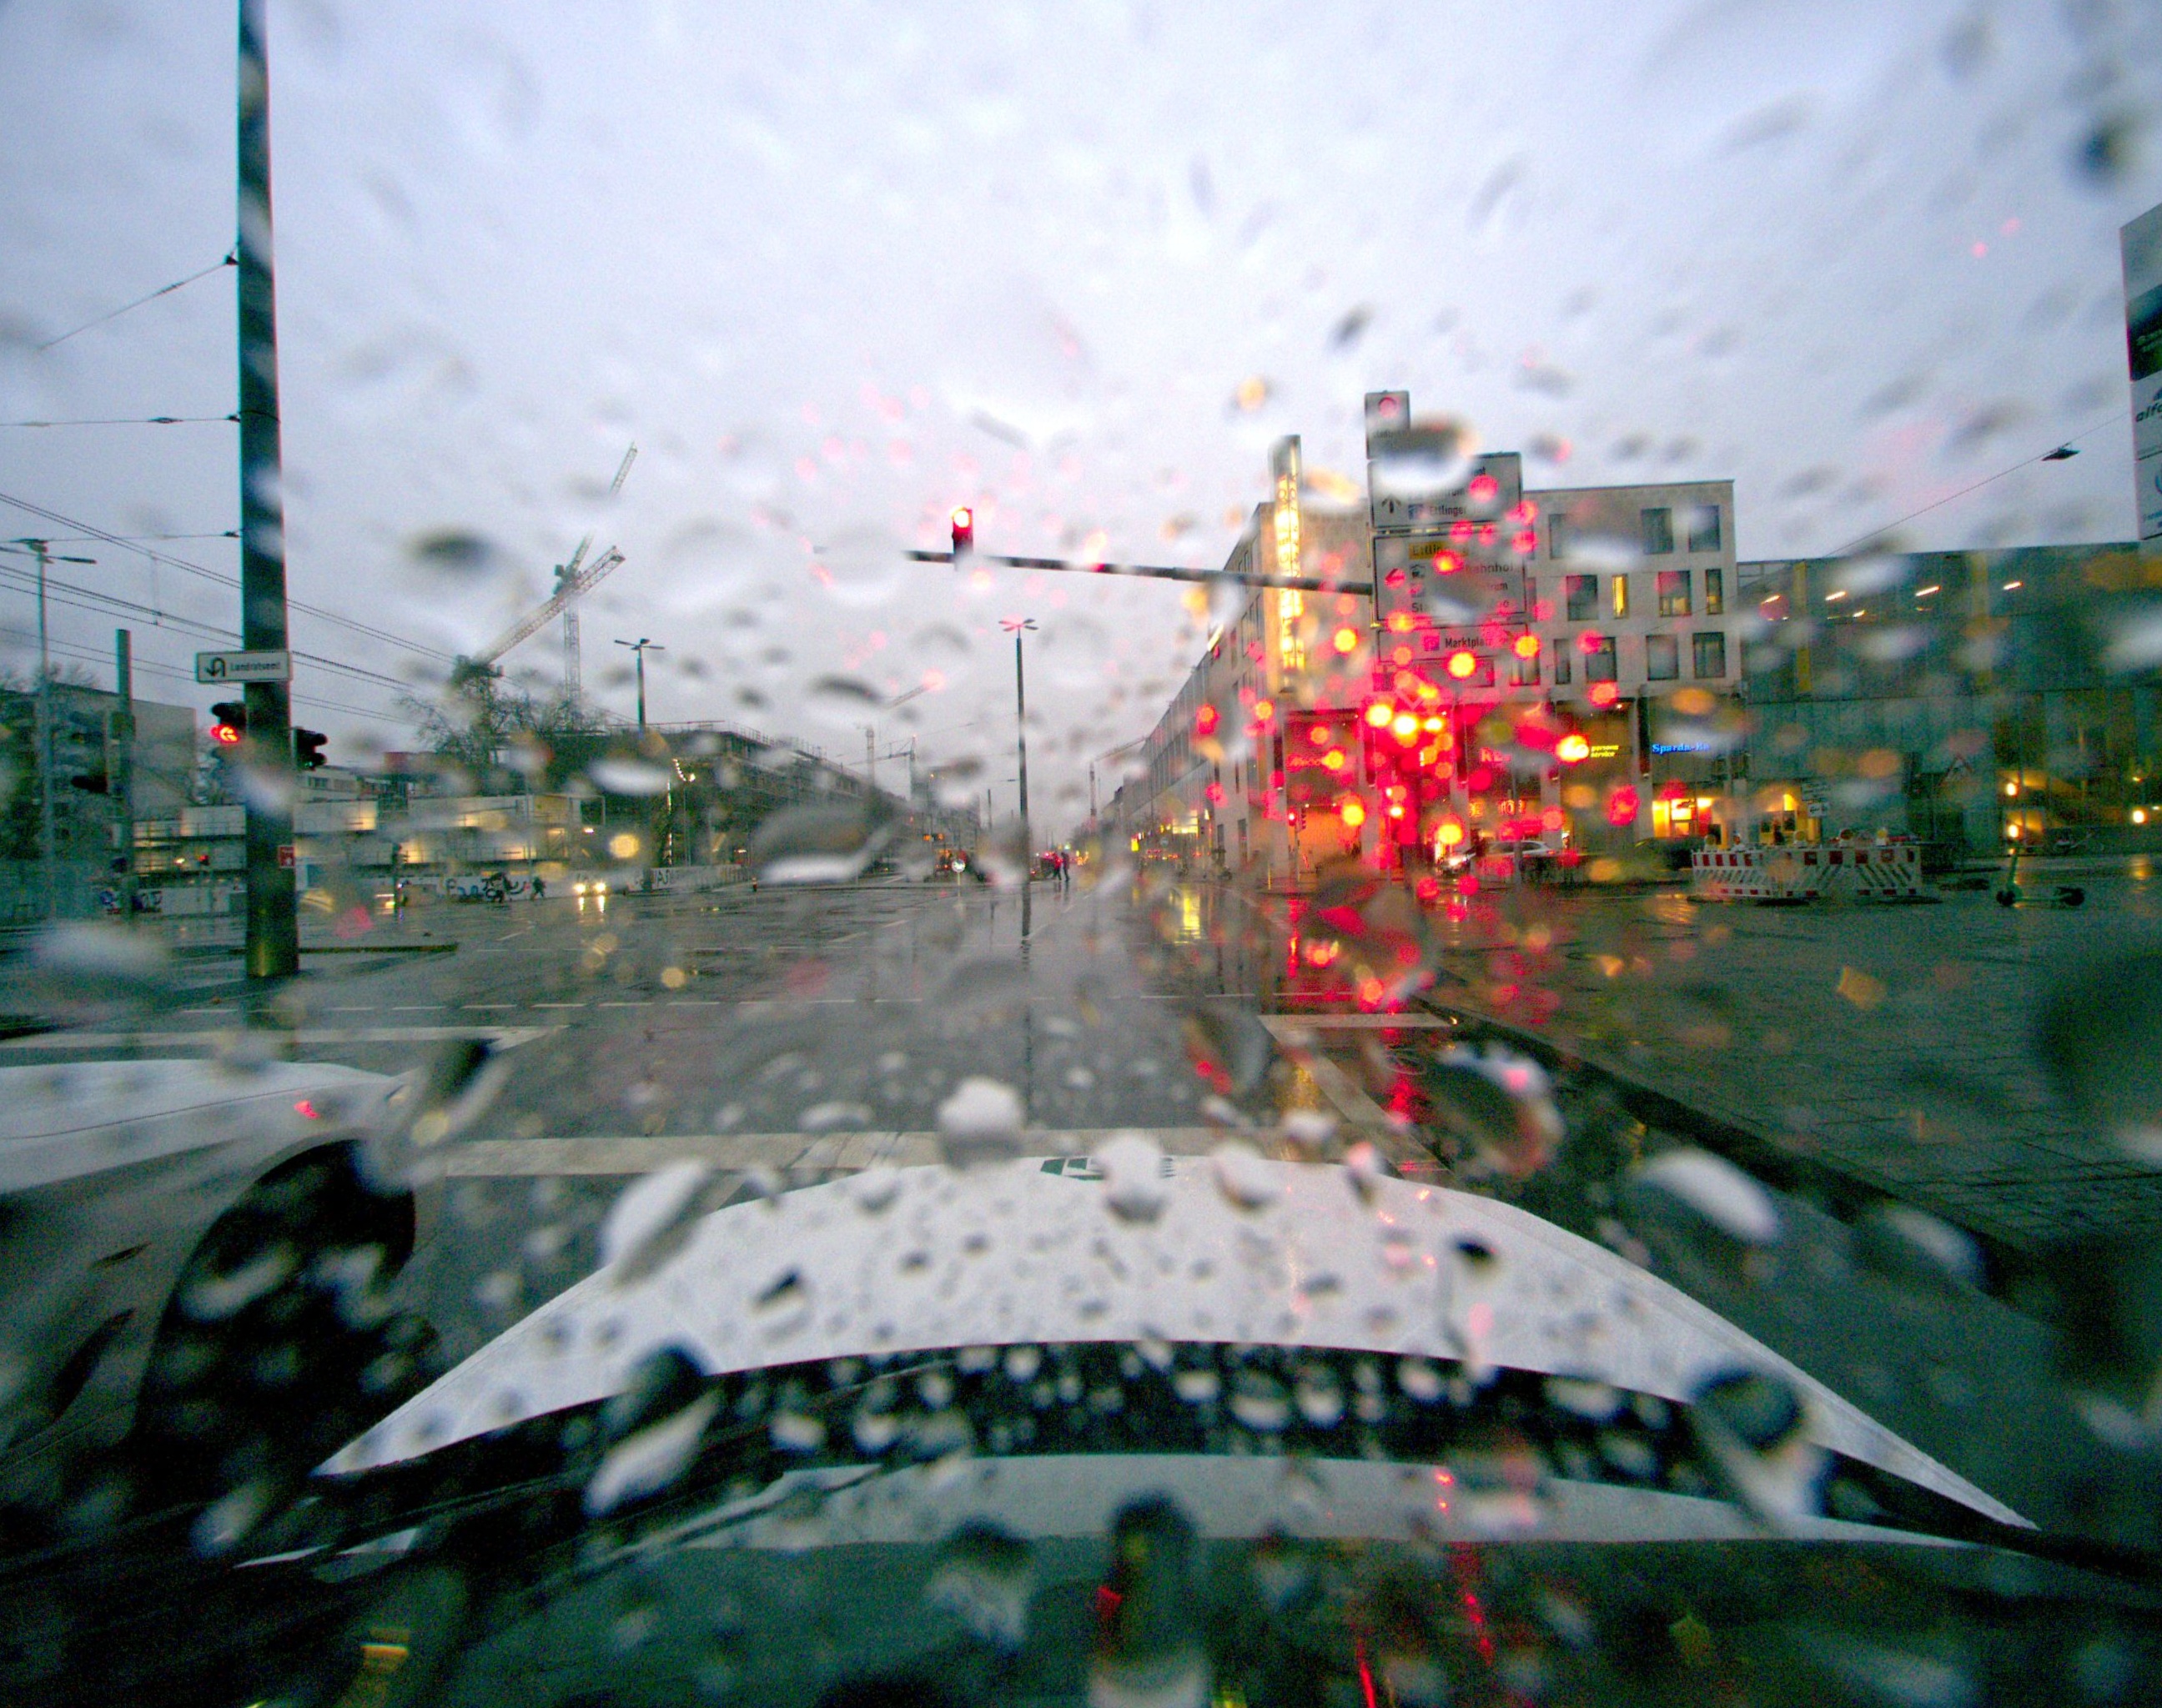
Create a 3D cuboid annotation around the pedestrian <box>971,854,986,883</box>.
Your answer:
[{"bbox_3d":[-5.763,0.815,45.960,0.704,1.619,0.613,-2,-1,-1],"label":"pedestrian"}]

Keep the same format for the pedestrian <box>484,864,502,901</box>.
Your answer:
[{"bbox_3d":[-33.159,1.605,45.929,0.507,2.014,0.638,-3,-2,-9],"label":"pedestrian"}]

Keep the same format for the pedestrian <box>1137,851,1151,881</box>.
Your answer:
[{"bbox_3d":[3.755,0.732,48.687,0.700,1.760,0.652,-2,-1,1],"label":"pedestrian"}]

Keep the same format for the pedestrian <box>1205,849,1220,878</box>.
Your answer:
[{"bbox_3d":[7.694,0.561,47.642,0.736,1.667,0.402,-2,-1,13],"label":"pedestrian"}]

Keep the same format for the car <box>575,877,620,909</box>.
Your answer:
[{"bbox_3d":[-33.536,2.682,56.590,1.760,2.013,3.977,-2,0,-17],"label":"car"}]

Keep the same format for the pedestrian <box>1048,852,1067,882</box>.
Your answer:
[{"bbox_3d":[-1.373,0.751,47.324,0.823,1.679,0.623,-2,-1,27],"label":"pedestrian"}]

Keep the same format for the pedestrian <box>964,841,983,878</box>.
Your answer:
[{"bbox_3d":[-5.899,0.294,44.681,0.781,2.013,0.606,-2,-1,-37],"label":"pedestrian"}]

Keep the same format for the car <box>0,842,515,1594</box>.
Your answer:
[{"bbox_3d":[-3.172,0.766,0.651,1.903,1.520,4.924,-2,0,1],"label":"car"}]

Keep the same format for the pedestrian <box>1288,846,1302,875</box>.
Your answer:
[{"bbox_3d":[12.925,0.398,49.186,0.615,1.760,0.482,-2,-1,1],"label":"pedestrian"}]

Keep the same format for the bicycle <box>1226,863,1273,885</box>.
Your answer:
[{"bbox_3d":[7.879,0.932,38.182,2.118,0.991,0.542,-1,-1,4],"label":"bicycle"}]

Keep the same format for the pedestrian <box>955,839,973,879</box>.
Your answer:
[{"bbox_3d":[-6.271,0.282,43.699,0.691,2.087,0.606,-2,-1,-38],"label":"pedestrian"}]

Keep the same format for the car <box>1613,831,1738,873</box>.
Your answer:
[{"bbox_3d":[24.969,-0.077,34.294,4.037,1.582,1.676,-2,-1,-1],"label":"car"}]

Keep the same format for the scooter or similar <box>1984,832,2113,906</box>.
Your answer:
[{"bbox_3d":[15.756,0.232,13.304,0.603,1.130,1.236,-2,0,2],"label":"scooter or similar"}]

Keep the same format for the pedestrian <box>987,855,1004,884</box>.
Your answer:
[{"bbox_3d":[-4.855,0.851,46.370,0.806,1.607,0.746,-2,-1,1],"label":"pedestrian"}]

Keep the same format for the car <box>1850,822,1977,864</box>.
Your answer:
[{"bbox_3d":[34.664,-0.435,33.975,3.558,1.582,1.676,-2,-1,-1],"label":"car"}]

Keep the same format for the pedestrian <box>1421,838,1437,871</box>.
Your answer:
[{"bbox_3d":[18.003,0.016,42.123,0.530,1.685,0.552,-3,-1,39],"label":"pedestrian"}]

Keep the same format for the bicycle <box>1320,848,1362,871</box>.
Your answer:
[{"bbox_3d":[16.147,0.345,50.651,2.420,1.329,0.634,-2,0,-4],"label":"bicycle"}]

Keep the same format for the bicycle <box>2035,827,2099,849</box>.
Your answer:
[{"bbox_3d":[48.653,-0.787,40.231,0.613,1.033,2.138,-2,0,3],"label":"bicycle"}]

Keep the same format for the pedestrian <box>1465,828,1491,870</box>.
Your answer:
[{"bbox_3d":[15.519,-0.208,31.853,0.774,1.595,0.616,-2,-1,17],"label":"pedestrian"}]

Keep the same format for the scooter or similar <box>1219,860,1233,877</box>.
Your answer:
[{"bbox_3d":[8.429,0.851,47.471,0.736,0.993,0.402,-2,-1,13],"label":"scooter or similar"}]

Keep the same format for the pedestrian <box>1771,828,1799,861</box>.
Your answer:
[{"bbox_3d":[36.115,-0.487,41.799,0.791,1.631,0.709,-1,-1,1],"label":"pedestrian"}]

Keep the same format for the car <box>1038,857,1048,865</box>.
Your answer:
[{"bbox_3d":[-8.001,1.487,170.787,1.881,1.783,3.715,-1,-1,2],"label":"car"}]

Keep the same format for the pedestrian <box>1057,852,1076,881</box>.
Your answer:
[{"bbox_3d":[-0.838,0.732,47.848,0.835,1.688,0.681,-2,-1,29],"label":"pedestrian"}]

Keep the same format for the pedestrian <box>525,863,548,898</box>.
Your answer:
[{"bbox_3d":[-31.689,1.533,47.431,0.792,2.014,0.745,-3,-1,-9],"label":"pedestrian"}]

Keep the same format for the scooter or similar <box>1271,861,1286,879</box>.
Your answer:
[{"bbox_3d":[11.233,0.889,46.325,0.738,0.993,0.401,-2,-1,3],"label":"scooter or similar"}]

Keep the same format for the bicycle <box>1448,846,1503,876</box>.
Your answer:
[{"bbox_3d":[15.433,0.257,31.882,1.831,1.093,0.620,-2,-1,16],"label":"bicycle"}]

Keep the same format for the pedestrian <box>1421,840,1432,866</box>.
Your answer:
[{"bbox_3d":[23.691,-0.073,55.827,0.530,1.718,0.505,-3,-1,39],"label":"pedestrian"}]

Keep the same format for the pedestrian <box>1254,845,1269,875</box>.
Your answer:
[{"bbox_3d":[10.552,0.357,47.664,0.700,1.760,0.668,-2,-1,1],"label":"pedestrian"}]

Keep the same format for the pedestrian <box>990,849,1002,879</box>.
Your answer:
[{"bbox_3d":[-5.057,0.586,48.481,0.617,1.746,0.612,-2,-1,-4],"label":"pedestrian"}]

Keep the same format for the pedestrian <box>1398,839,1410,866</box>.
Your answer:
[{"bbox_3d":[21.010,-0.105,52.997,0.530,1.718,0.505,-3,-1,39],"label":"pedestrian"}]

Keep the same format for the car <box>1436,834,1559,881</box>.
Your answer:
[{"bbox_3d":[17.567,0.137,34.472,4.283,1.761,1.709,-2,0,4],"label":"car"}]

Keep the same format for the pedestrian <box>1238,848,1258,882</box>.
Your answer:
[{"bbox_3d":[7.835,0.522,38.190,0.811,1.570,0.537,-2,-1,4],"label":"pedestrian"}]

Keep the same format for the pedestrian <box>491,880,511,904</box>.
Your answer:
[{"bbox_3d":[-37.713,2.454,52.979,0.640,1.529,0.798,-3,-1,8],"label":"pedestrian"}]
